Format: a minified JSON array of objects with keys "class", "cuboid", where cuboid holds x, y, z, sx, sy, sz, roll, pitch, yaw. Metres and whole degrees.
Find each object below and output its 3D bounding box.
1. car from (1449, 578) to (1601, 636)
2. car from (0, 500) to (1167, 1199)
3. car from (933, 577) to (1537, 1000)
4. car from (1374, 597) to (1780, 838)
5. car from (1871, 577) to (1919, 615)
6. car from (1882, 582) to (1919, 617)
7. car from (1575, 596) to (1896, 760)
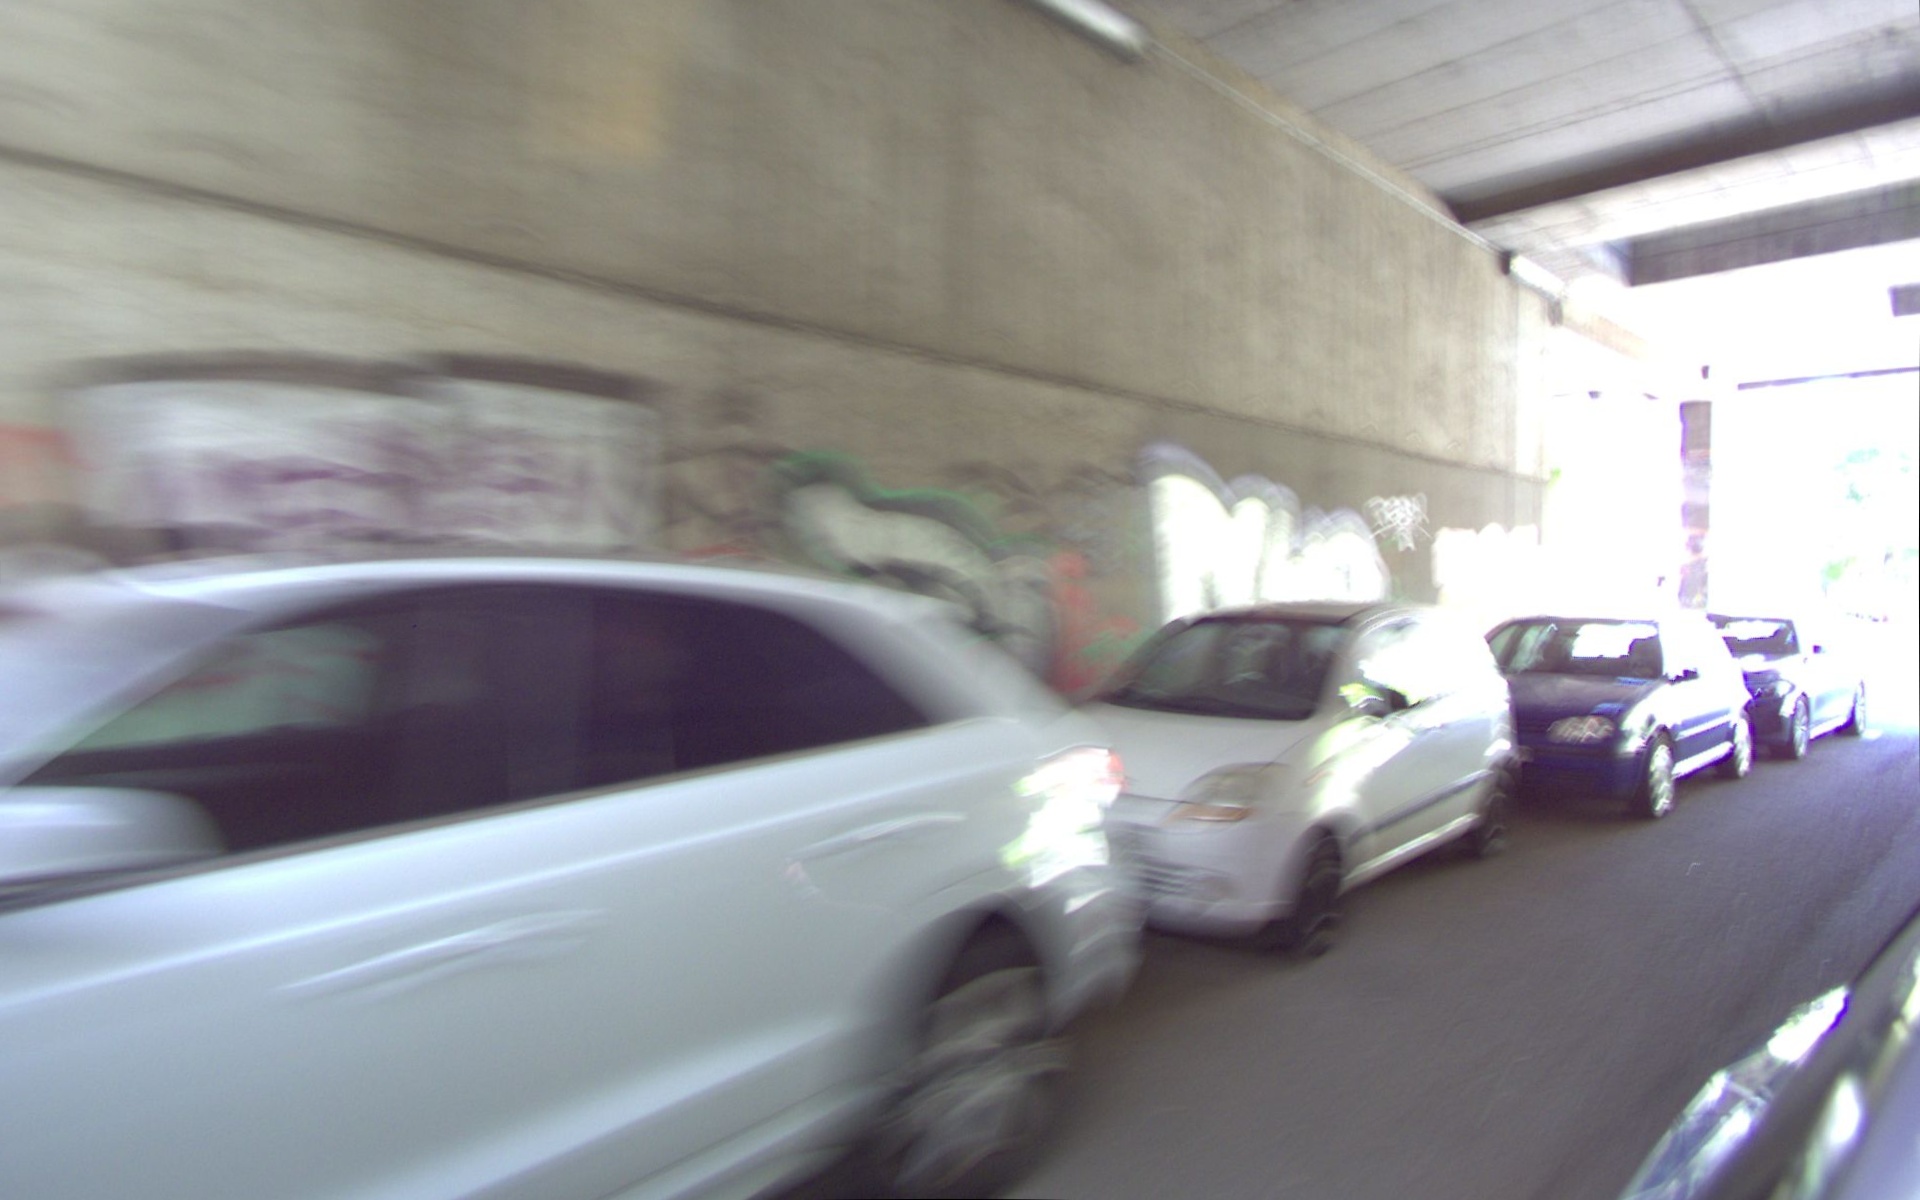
[{"class":"car","cuboid":[16.361,0.144,29.423,1.696,1.537,3.524,-2,2,-43]},{"class":"car","cuboid":[-1.475,0.637,2.104,4.087,1.565,1.731,-1,2,-44]},{"class":"car","cuboid":[1.692,0.640,5.469,1.604,1.506,3.579,2,2,45]},{"class":"car","cuboid":[5.203,0.728,8.318,3.993,1.428,1.764,-1,2,-42]},{"class":"car","cuboid":[53.427,-0.216,57.683,1.988,2.055,4.242,1,0,39]},{"class":"car","cuboid":[44.434,0.005,47.162,1.771,1.458,3.944,5,2,38]},{"class":"car","cuboid":[8.835,0.709,11.391,4.524,1.451,1.855,-1,0,-39]}]
